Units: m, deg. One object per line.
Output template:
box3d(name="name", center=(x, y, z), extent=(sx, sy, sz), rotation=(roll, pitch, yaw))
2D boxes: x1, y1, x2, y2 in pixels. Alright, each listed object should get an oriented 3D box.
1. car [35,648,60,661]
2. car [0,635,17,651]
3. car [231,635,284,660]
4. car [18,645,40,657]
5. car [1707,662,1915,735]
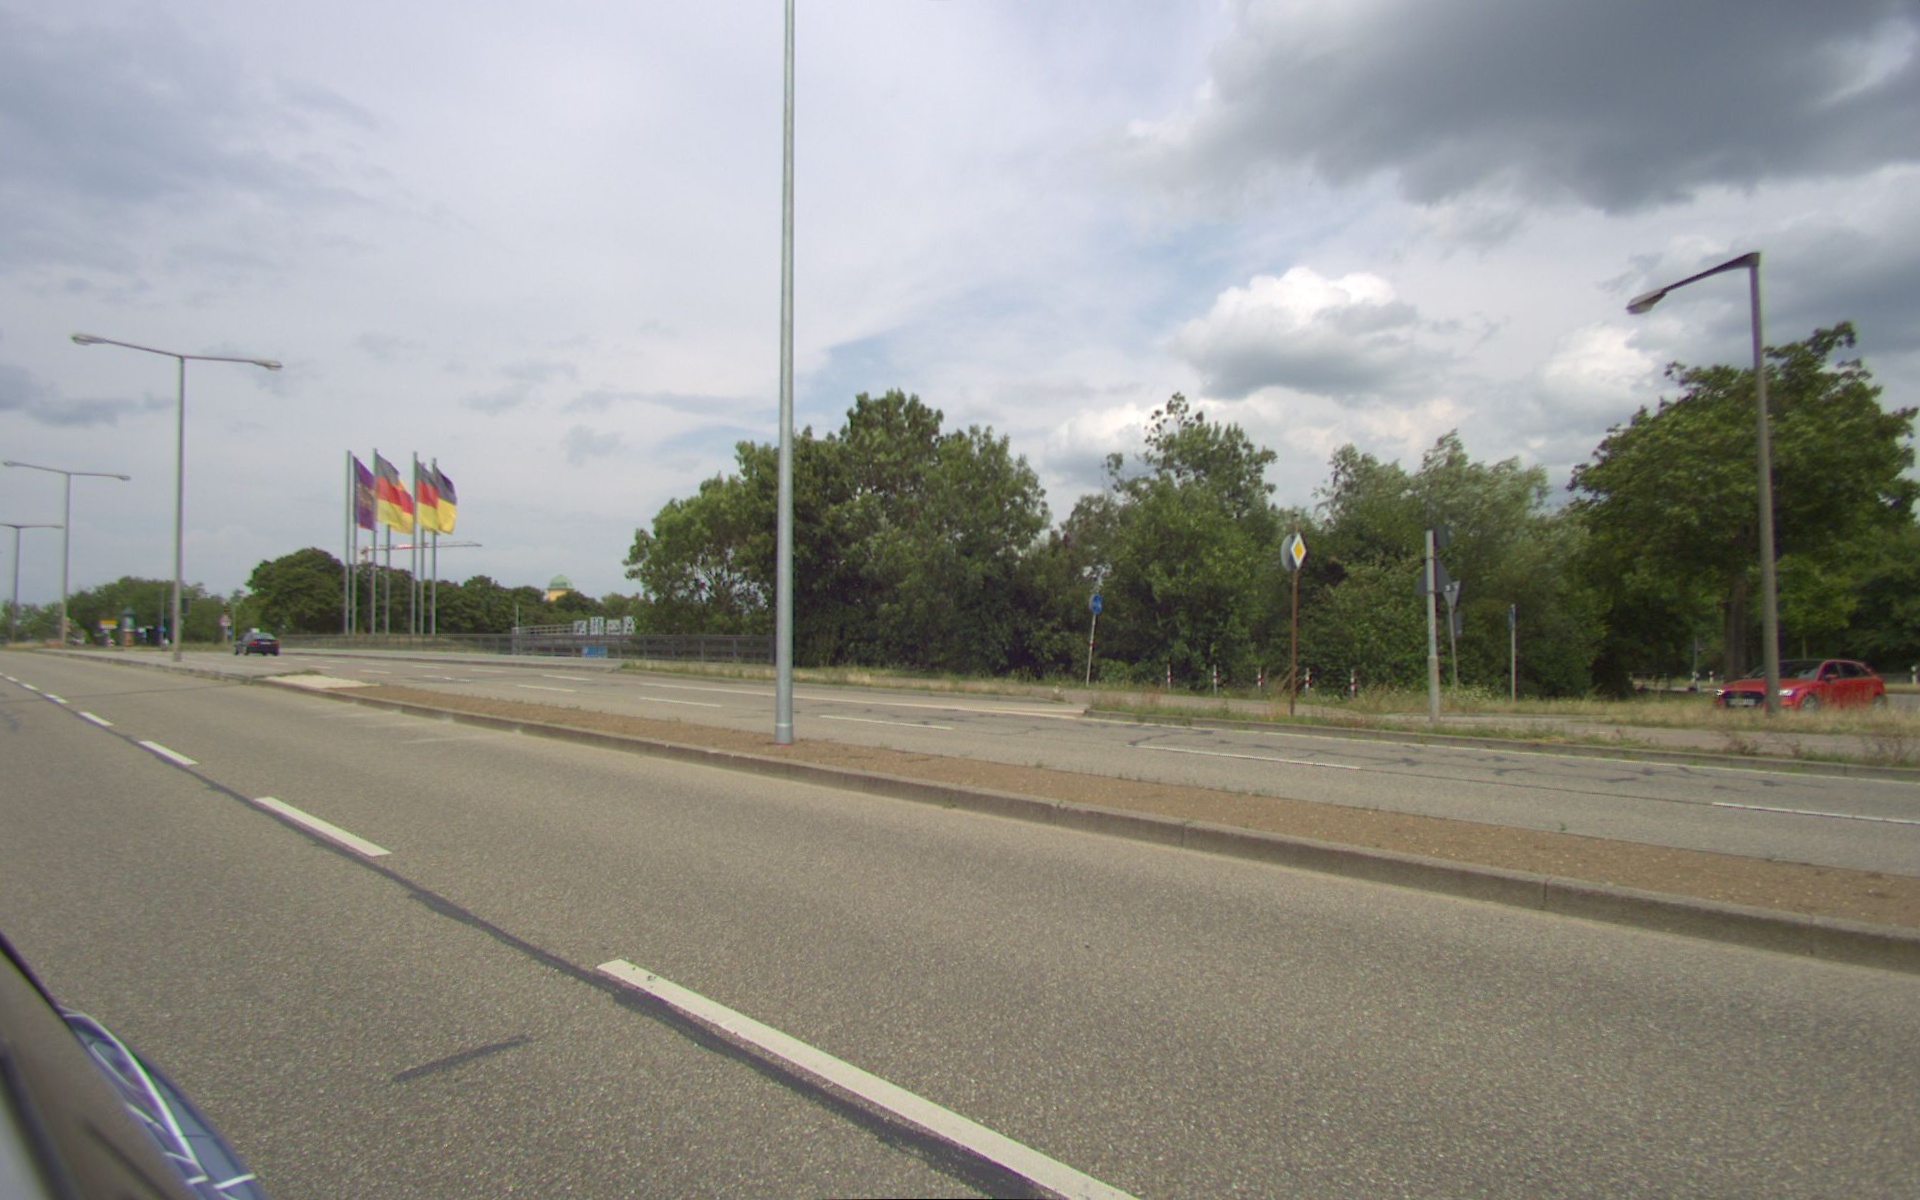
box3d(name="car", center=(-109.923, 6.593, 121.874), extent=(3.997, 1.505, 1.673), rotation=(-3, -5, 41))
box3d(name="car", center=(-106.791, 4.780, 112.826), extent=(4.661, 1.652, 1.972), rotation=(-2, -1, 42))
box3d(name="car", center=(-42.814, 2.887, 61.636), extent=(1.970, 1.384, 4.581), rotation=(4, -4, -43))
box3d(name="car", center=(-120.834, 6.620, 131.367), extent=(3.997, 1.505, 1.673), rotation=(-3, -5, 41))
box3d(name="car", center=(18.955, 2.132, 22.535), extent=(4.222, 1.384, 1.787), rotation=(0, -2, -23))
